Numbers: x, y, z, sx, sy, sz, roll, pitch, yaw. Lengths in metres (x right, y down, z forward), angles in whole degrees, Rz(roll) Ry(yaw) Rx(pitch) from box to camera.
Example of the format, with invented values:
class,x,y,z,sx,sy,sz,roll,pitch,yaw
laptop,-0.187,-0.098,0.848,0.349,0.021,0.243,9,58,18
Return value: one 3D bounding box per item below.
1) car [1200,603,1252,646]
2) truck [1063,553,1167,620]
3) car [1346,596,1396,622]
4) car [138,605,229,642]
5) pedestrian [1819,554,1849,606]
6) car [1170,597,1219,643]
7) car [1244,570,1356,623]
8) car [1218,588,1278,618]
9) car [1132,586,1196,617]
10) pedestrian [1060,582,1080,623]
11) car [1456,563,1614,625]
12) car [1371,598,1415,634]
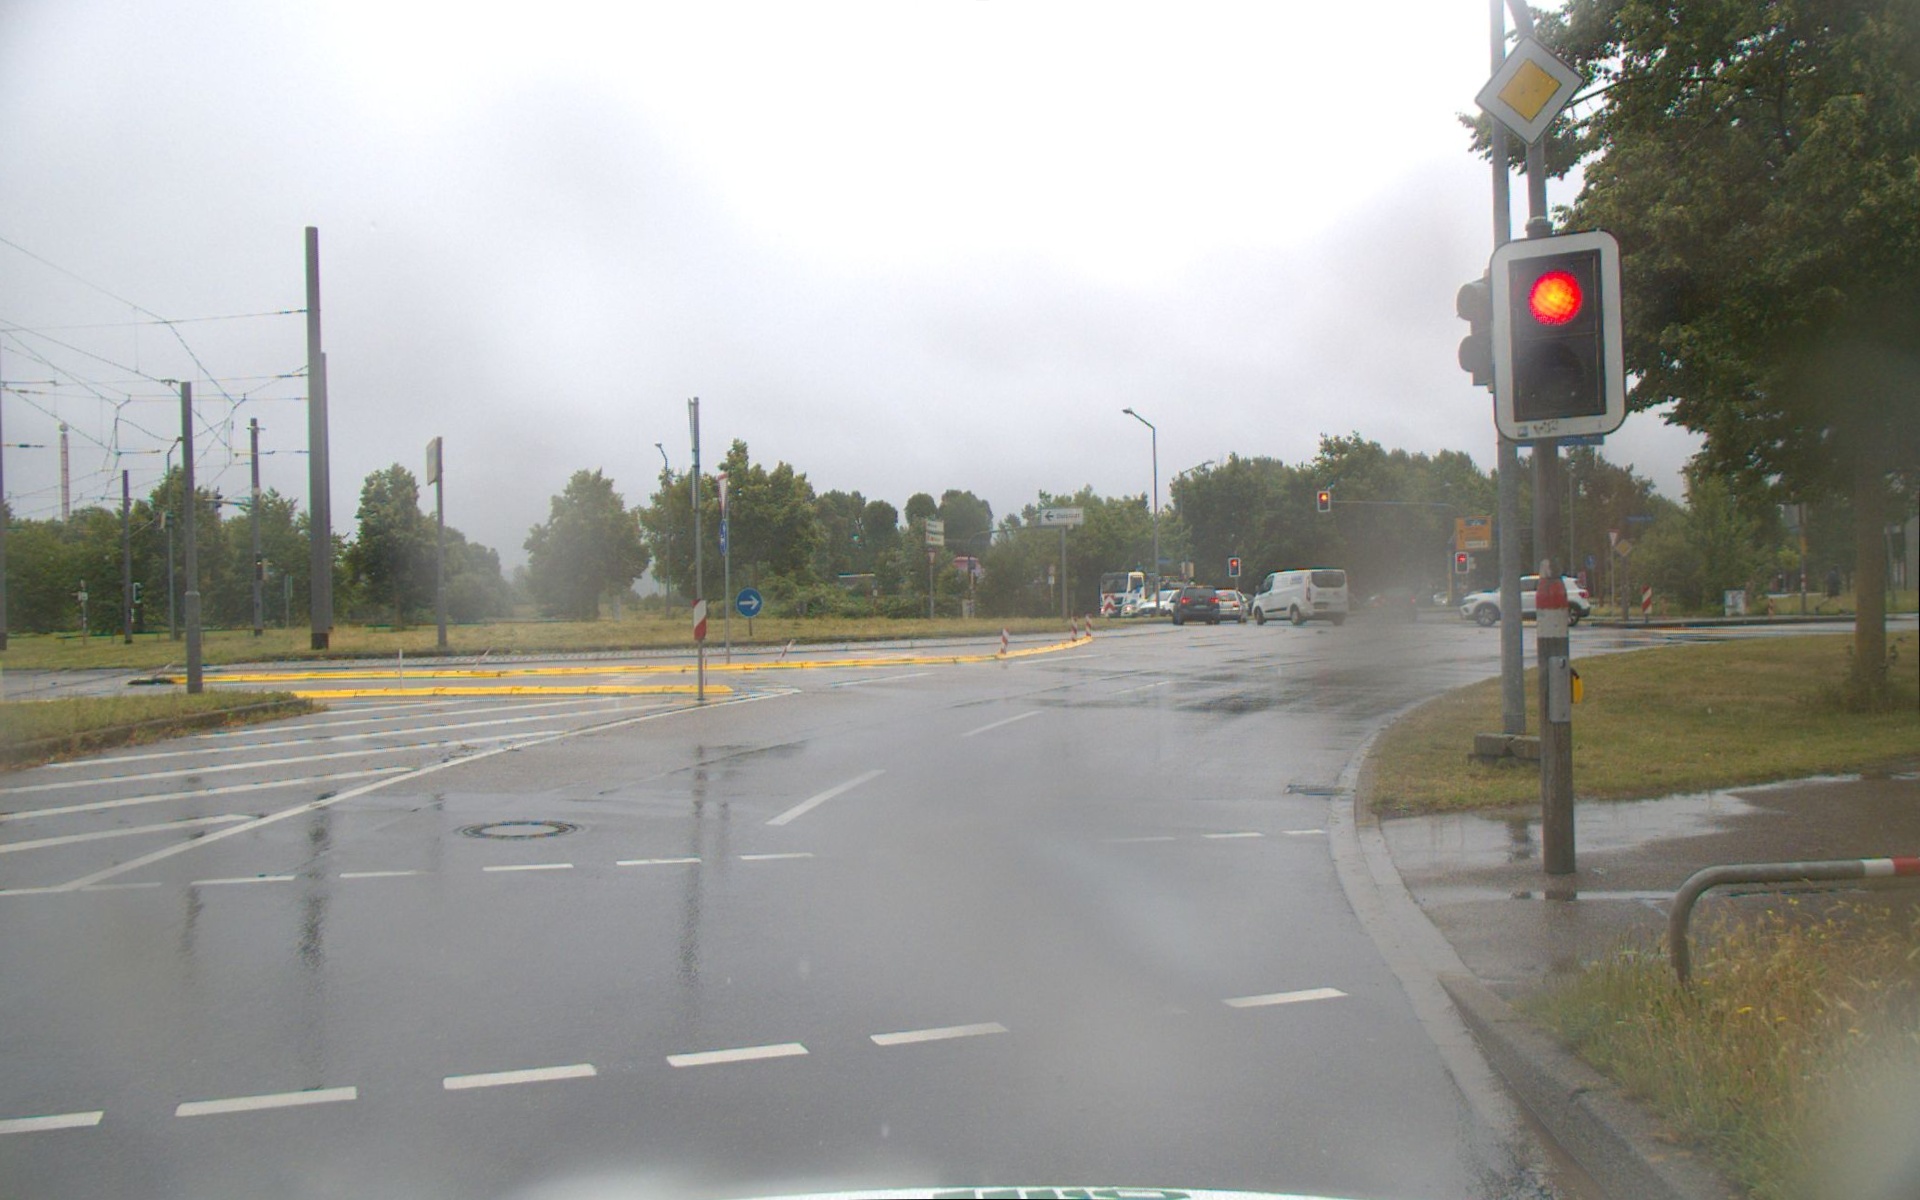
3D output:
class,x,y,z,sx,sy,sz,roll,pitch,yaw
car,12.464,1.154,77.318,1.951,1.884,4.779,1,-1,14
truck,7.040,-0.543,74.173,2.411,2.733,8.058,1,-1,22
car,28.144,0.626,113.073,1.769,1.691,3.979,0,-1,40
car,-39.920,1.206,85.106,1.644,1.848,3.994,1,-1,28
pedestrian,32.190,-0.731,60.917,0.799,1.901,0.668,1,-1,7
car,10.190,0.869,71.546,1.951,1.884,4.779,1,-1,9
car,12.733,-0.100,62.224,1.964,1.884,4.748,1,-1,-19
car,17.121,0.210,98.211,1.769,1.691,3.979,0,-1,40
car,11.895,0.084,96.323,1.769,1.691,4.112,0,-1,40
pedestrian,3.613,0.089,54.359,0.445,1.327,0.484,-1,0,38
car,18.550,-0.199,53.579,4.659,1.883,2.001,-1,0,16
car,18.669,0.671,71.400,1.583,1.479,3.991,-1,0,11
